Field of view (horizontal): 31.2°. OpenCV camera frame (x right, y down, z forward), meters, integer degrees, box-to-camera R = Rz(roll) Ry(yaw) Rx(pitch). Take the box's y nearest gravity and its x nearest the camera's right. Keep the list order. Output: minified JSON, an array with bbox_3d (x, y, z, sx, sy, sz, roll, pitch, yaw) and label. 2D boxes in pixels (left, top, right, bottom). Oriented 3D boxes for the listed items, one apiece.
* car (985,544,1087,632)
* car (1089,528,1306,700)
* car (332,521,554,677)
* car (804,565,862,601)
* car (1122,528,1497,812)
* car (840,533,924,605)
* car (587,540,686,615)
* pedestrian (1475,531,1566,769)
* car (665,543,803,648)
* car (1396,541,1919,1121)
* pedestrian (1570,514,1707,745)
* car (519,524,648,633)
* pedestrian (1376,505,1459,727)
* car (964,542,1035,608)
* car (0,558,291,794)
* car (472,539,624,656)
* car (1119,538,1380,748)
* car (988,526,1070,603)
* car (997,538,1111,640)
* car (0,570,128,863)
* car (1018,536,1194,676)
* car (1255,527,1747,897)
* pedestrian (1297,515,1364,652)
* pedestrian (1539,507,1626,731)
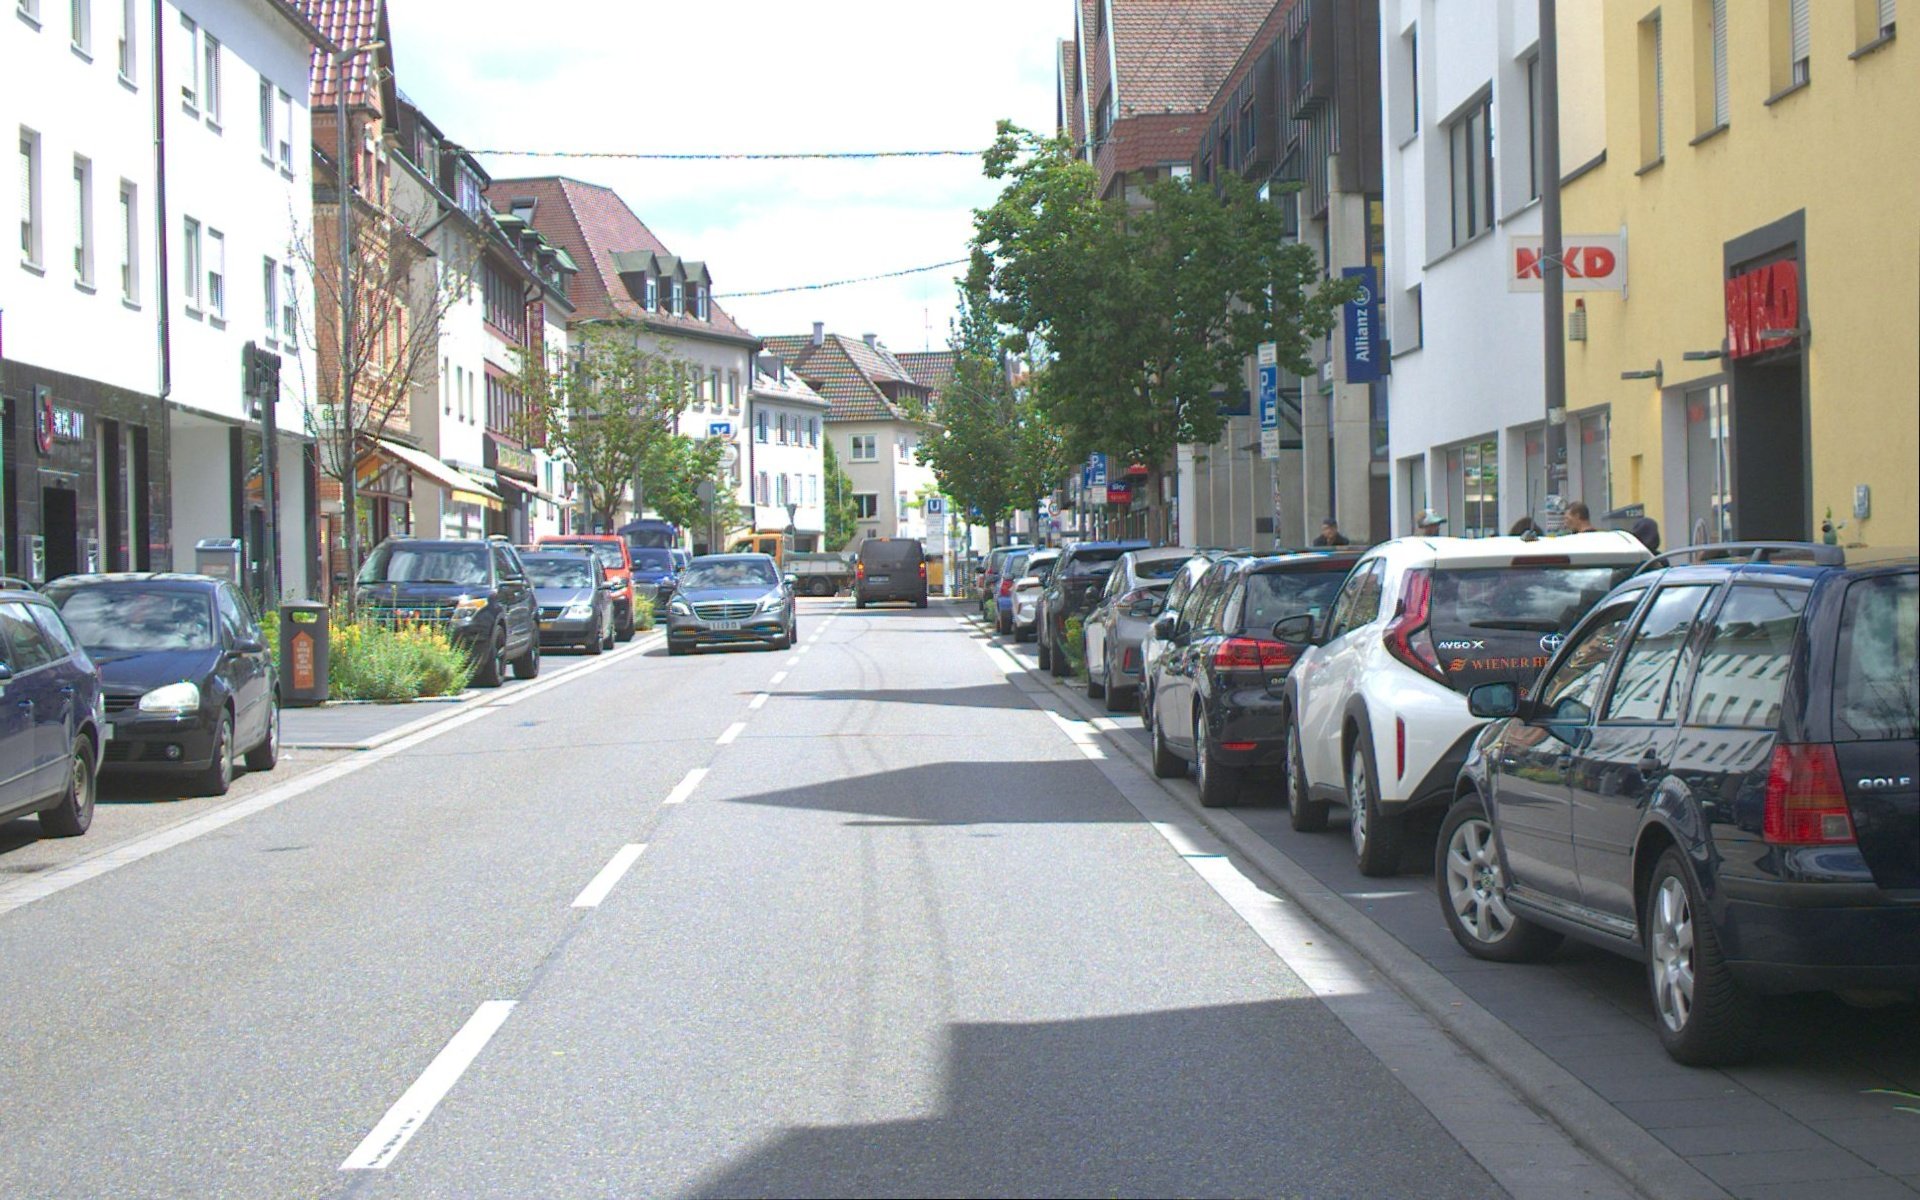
[{"bbox_3d":[1.329,-0.211,61.243,1.721,1.488,4.109,1,0,0],"label":"car"},{"bbox_3d":[2.143,0.121,32.051,1.721,1.471,4.354,1,0,0],"label":"car"},{"bbox_3d":[-6.124,-0.014,41.236,1.816,1.749,4.668,1,0,2],"label":"car"},{"bbox_3d":[-5.285,-0.692,143.376,1.625,1.481,3.803,1,0,11],"label":"car"},{"bbox_3d":[2.034,0.342,21.231,1.689,1.467,4.524,1,2,-2],"label":"car"},{"bbox_3d":[-2.116,-0.807,91.545,2.040,1.842,5.000,1,0,-3],"label":"car"},{"bbox_3d":[-7.016,-0.506,74.797,1.799,1.592,4.389,0,1,-1],"label":"car"},{"bbox_3d":[4.388,0.389,26.923,0.588,1.834,0.576,1,0,0],"label":"pedestrian"},{"bbox_3d":[-3.508,-0.070,54.027,1.905,1.558,4.646,1,0,-1],"label":"car"},{"bbox_3d":[2.693,0.556,10.940,1.689,1.435,4.296,-3,0,-4],"label":"car"},{"bbox_3d":[4.662,0.199,23.650,0.749,1.548,0.726,-1,0,-2],"label":"pedestrian"},{"bbox_3d":[-6.772,-0.376,62.311,1.816,1.882,4.841,1,0,0],"label":"car"},{"bbox_3d":[3.826,0.133,28.797,0.588,1.834,0.576,1,0,0],"label":"pedestrian"},{"bbox_3d":[0.950,-0.630,84.350,1.609,1.490,3.795,-4,1,0],"label":"car"},{"bbox_3d":[-5.887,0.466,24.295,1.790,1.498,4.179,1,1,-4],"label":"car"},{"bbox_3d":[-6.472,-0.038,54.443,1.816,1.749,4.464,1,0,0],"label":"car"},{"bbox_3d":[2.177,0.305,26.991,1.630,1.471,4.957,1,0,0],"label":"car"},{"bbox_3d":[1.424,-0.759,72.040,1.609,1.527,3.795,-2,1,0],"label":"car"},{"bbox_3d":[1.484,-0.170,55.816,1.721,1.571,4.428,1,0,0],"label":"car"},{"bbox_3d":[-5.890,0.603,18.479,1.790,1.507,4.713,0,1,-1],"label":"car"},{"bbox_3d":[1.696,0.061,41.148,1.721,1.571,4.109,1,0,-3],"label":"car"},{"bbox_3d":[2.486,0.479,16.645,1.689,1.568,3.756,1,0,-1],"label":"car"},{"bbox_3d":[4.739,-0.205,44.023,0.741,1.731,0.757,1,0,0],"label":"pedestrian"},{"bbox_3d":[5.180,0.157,28.624,0.588,1.834,0.576,1,0,0],"label":"pedestrian"}]
